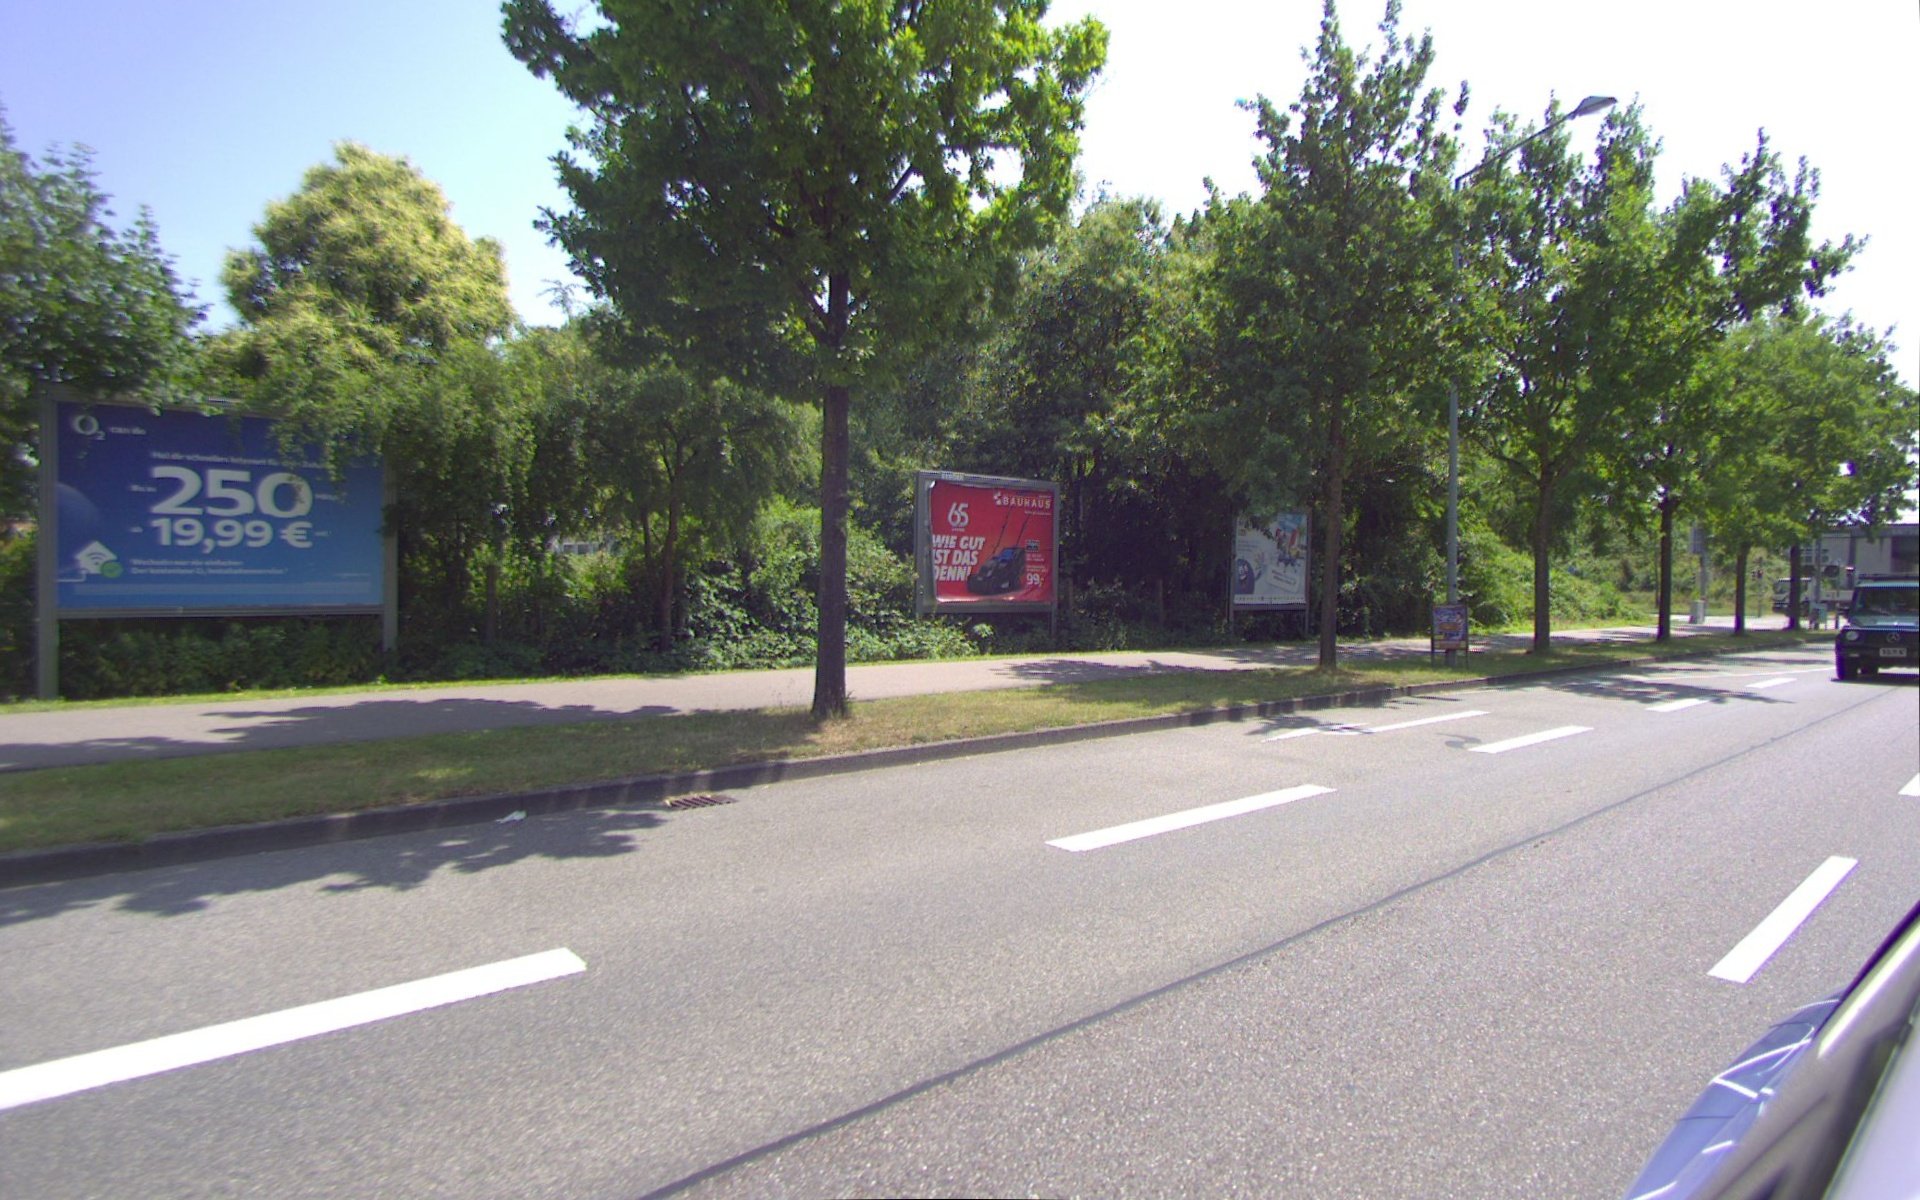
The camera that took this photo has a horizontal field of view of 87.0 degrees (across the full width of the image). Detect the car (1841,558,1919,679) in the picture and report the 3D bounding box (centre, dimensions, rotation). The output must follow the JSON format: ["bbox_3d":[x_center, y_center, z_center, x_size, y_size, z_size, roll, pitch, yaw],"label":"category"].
[{"bbox_3d":[18.874,0.317,19.827,4.479,2.180,1.840,-1,2,-41],"label":"car"}]

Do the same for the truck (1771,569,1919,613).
[{"bbox_3d":[62.402,-0.670,70.664,8.411,2.952,2.868,1,0,21],"label":"truck"}]
